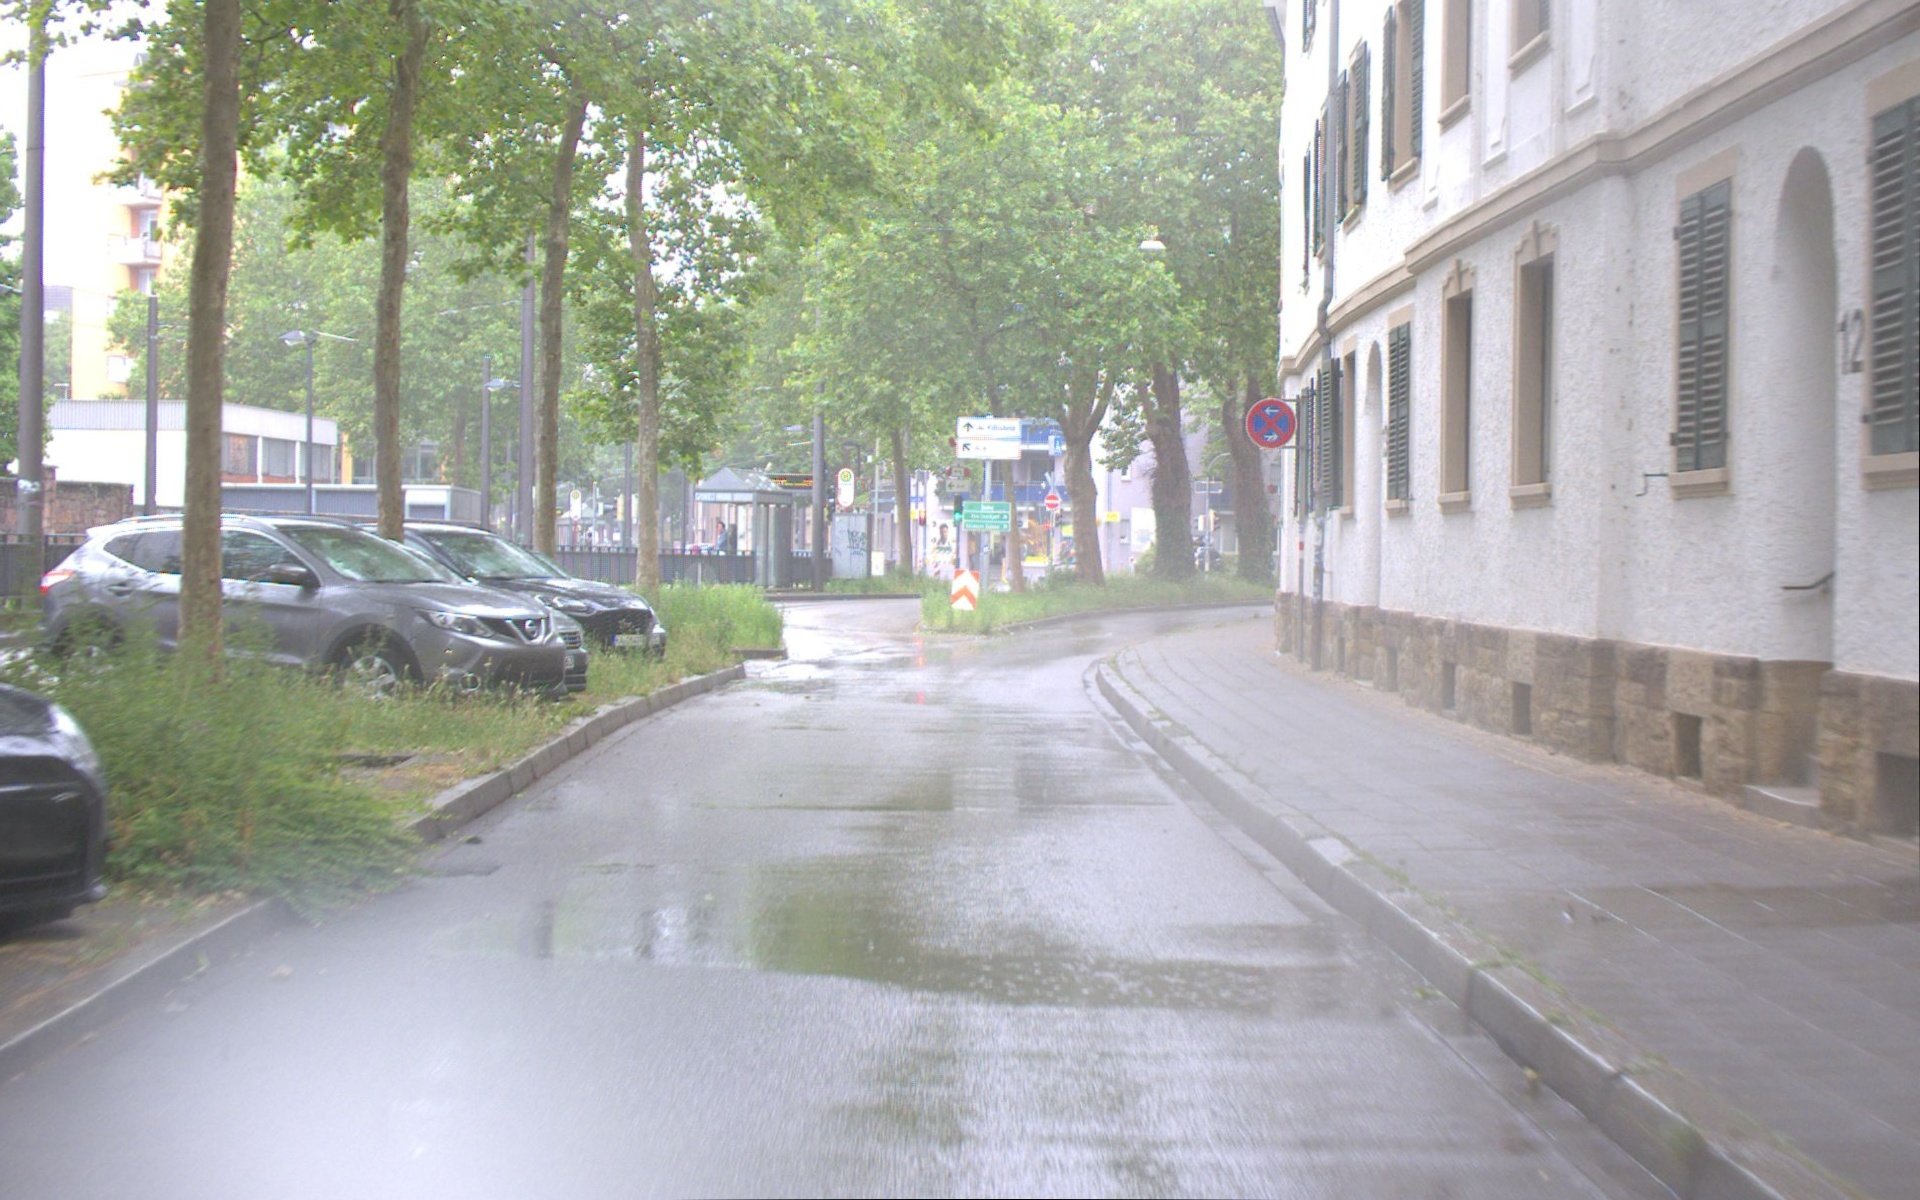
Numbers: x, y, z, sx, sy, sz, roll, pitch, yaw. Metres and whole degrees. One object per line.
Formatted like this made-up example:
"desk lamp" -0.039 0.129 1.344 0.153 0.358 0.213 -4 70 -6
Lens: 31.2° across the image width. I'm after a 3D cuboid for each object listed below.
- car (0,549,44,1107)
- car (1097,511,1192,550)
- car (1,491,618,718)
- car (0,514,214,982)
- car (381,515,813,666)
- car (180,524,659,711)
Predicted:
"car" -4.882 0.608 9.591 4.553 1.477 1.772 0 1 30
"car" 8.247 -3.096 153.509 3.989 1.592 1.999 2 1 -43
"car" -5.098 -0.020 26.885 4.464 1.591 1.920 2 2 26
"car" -4.682 0.466 12.211 3.811 1.516 1.719 0 1 31
"car" -3.988 -0.119 37.625 4.358 1.507 1.957 0 3 31
"car" -5.483 0.148 34.729 4.525 1.708 1.957 0 3 31
